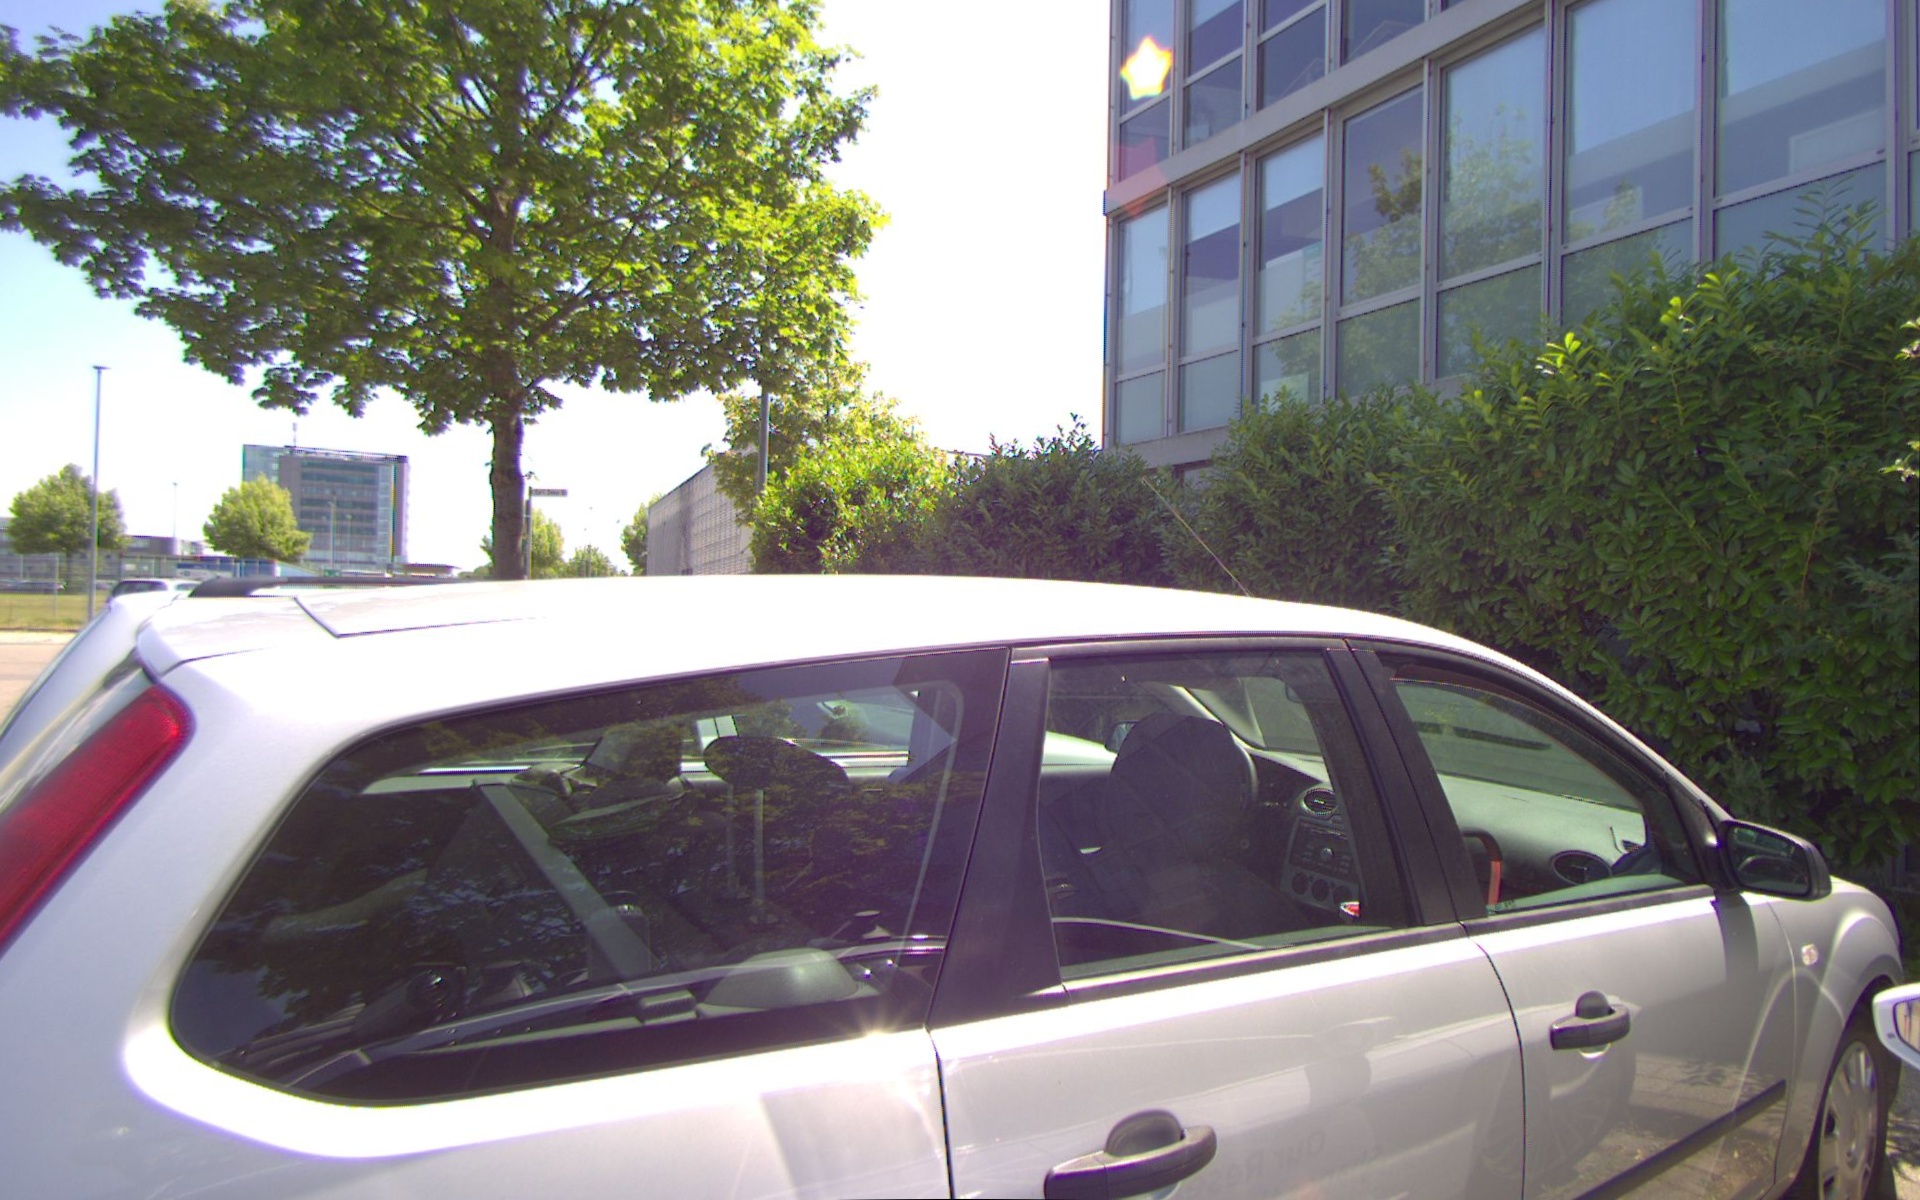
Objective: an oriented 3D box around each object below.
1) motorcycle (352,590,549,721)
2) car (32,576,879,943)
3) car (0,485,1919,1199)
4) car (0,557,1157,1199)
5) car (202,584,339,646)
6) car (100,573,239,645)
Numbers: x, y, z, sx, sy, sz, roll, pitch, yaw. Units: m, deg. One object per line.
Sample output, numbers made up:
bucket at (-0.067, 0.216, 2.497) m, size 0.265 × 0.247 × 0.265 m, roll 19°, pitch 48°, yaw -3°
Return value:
motorcycle at (-5.836, 0.610, 11.577) m, size 1.969 × 1.408 × 0.480 m, roll 1°, pitch 0°, yaw -35°
car at (-2.554, 0.673, 5.789) m, size 3.852 × 1.468 × 1.637 m, roll 1°, pitch 0°, yaw -34°
car at (0.416, 0.716, 2.125) m, size 4.299 × 1.499 × 1.710 m, roll 1°, pitch 0°, yaw -31°
car at (-1.240, 0.682, 3.737) m, size 3.852 × 1.499 × 1.637 m, roll 1°, pitch 0°, yaw -34°
car at (-18.761, 0.396, 27.542) m, size 1.624 × 1.542 × 3.991 m, roll 1°, pitch 0°, yaw -11°
car at (-21.180, 0.226, 27.119) m, size 1.746 × 1.761 × 3.981 m, roll 1°, pitch 0°, yaw -20°
